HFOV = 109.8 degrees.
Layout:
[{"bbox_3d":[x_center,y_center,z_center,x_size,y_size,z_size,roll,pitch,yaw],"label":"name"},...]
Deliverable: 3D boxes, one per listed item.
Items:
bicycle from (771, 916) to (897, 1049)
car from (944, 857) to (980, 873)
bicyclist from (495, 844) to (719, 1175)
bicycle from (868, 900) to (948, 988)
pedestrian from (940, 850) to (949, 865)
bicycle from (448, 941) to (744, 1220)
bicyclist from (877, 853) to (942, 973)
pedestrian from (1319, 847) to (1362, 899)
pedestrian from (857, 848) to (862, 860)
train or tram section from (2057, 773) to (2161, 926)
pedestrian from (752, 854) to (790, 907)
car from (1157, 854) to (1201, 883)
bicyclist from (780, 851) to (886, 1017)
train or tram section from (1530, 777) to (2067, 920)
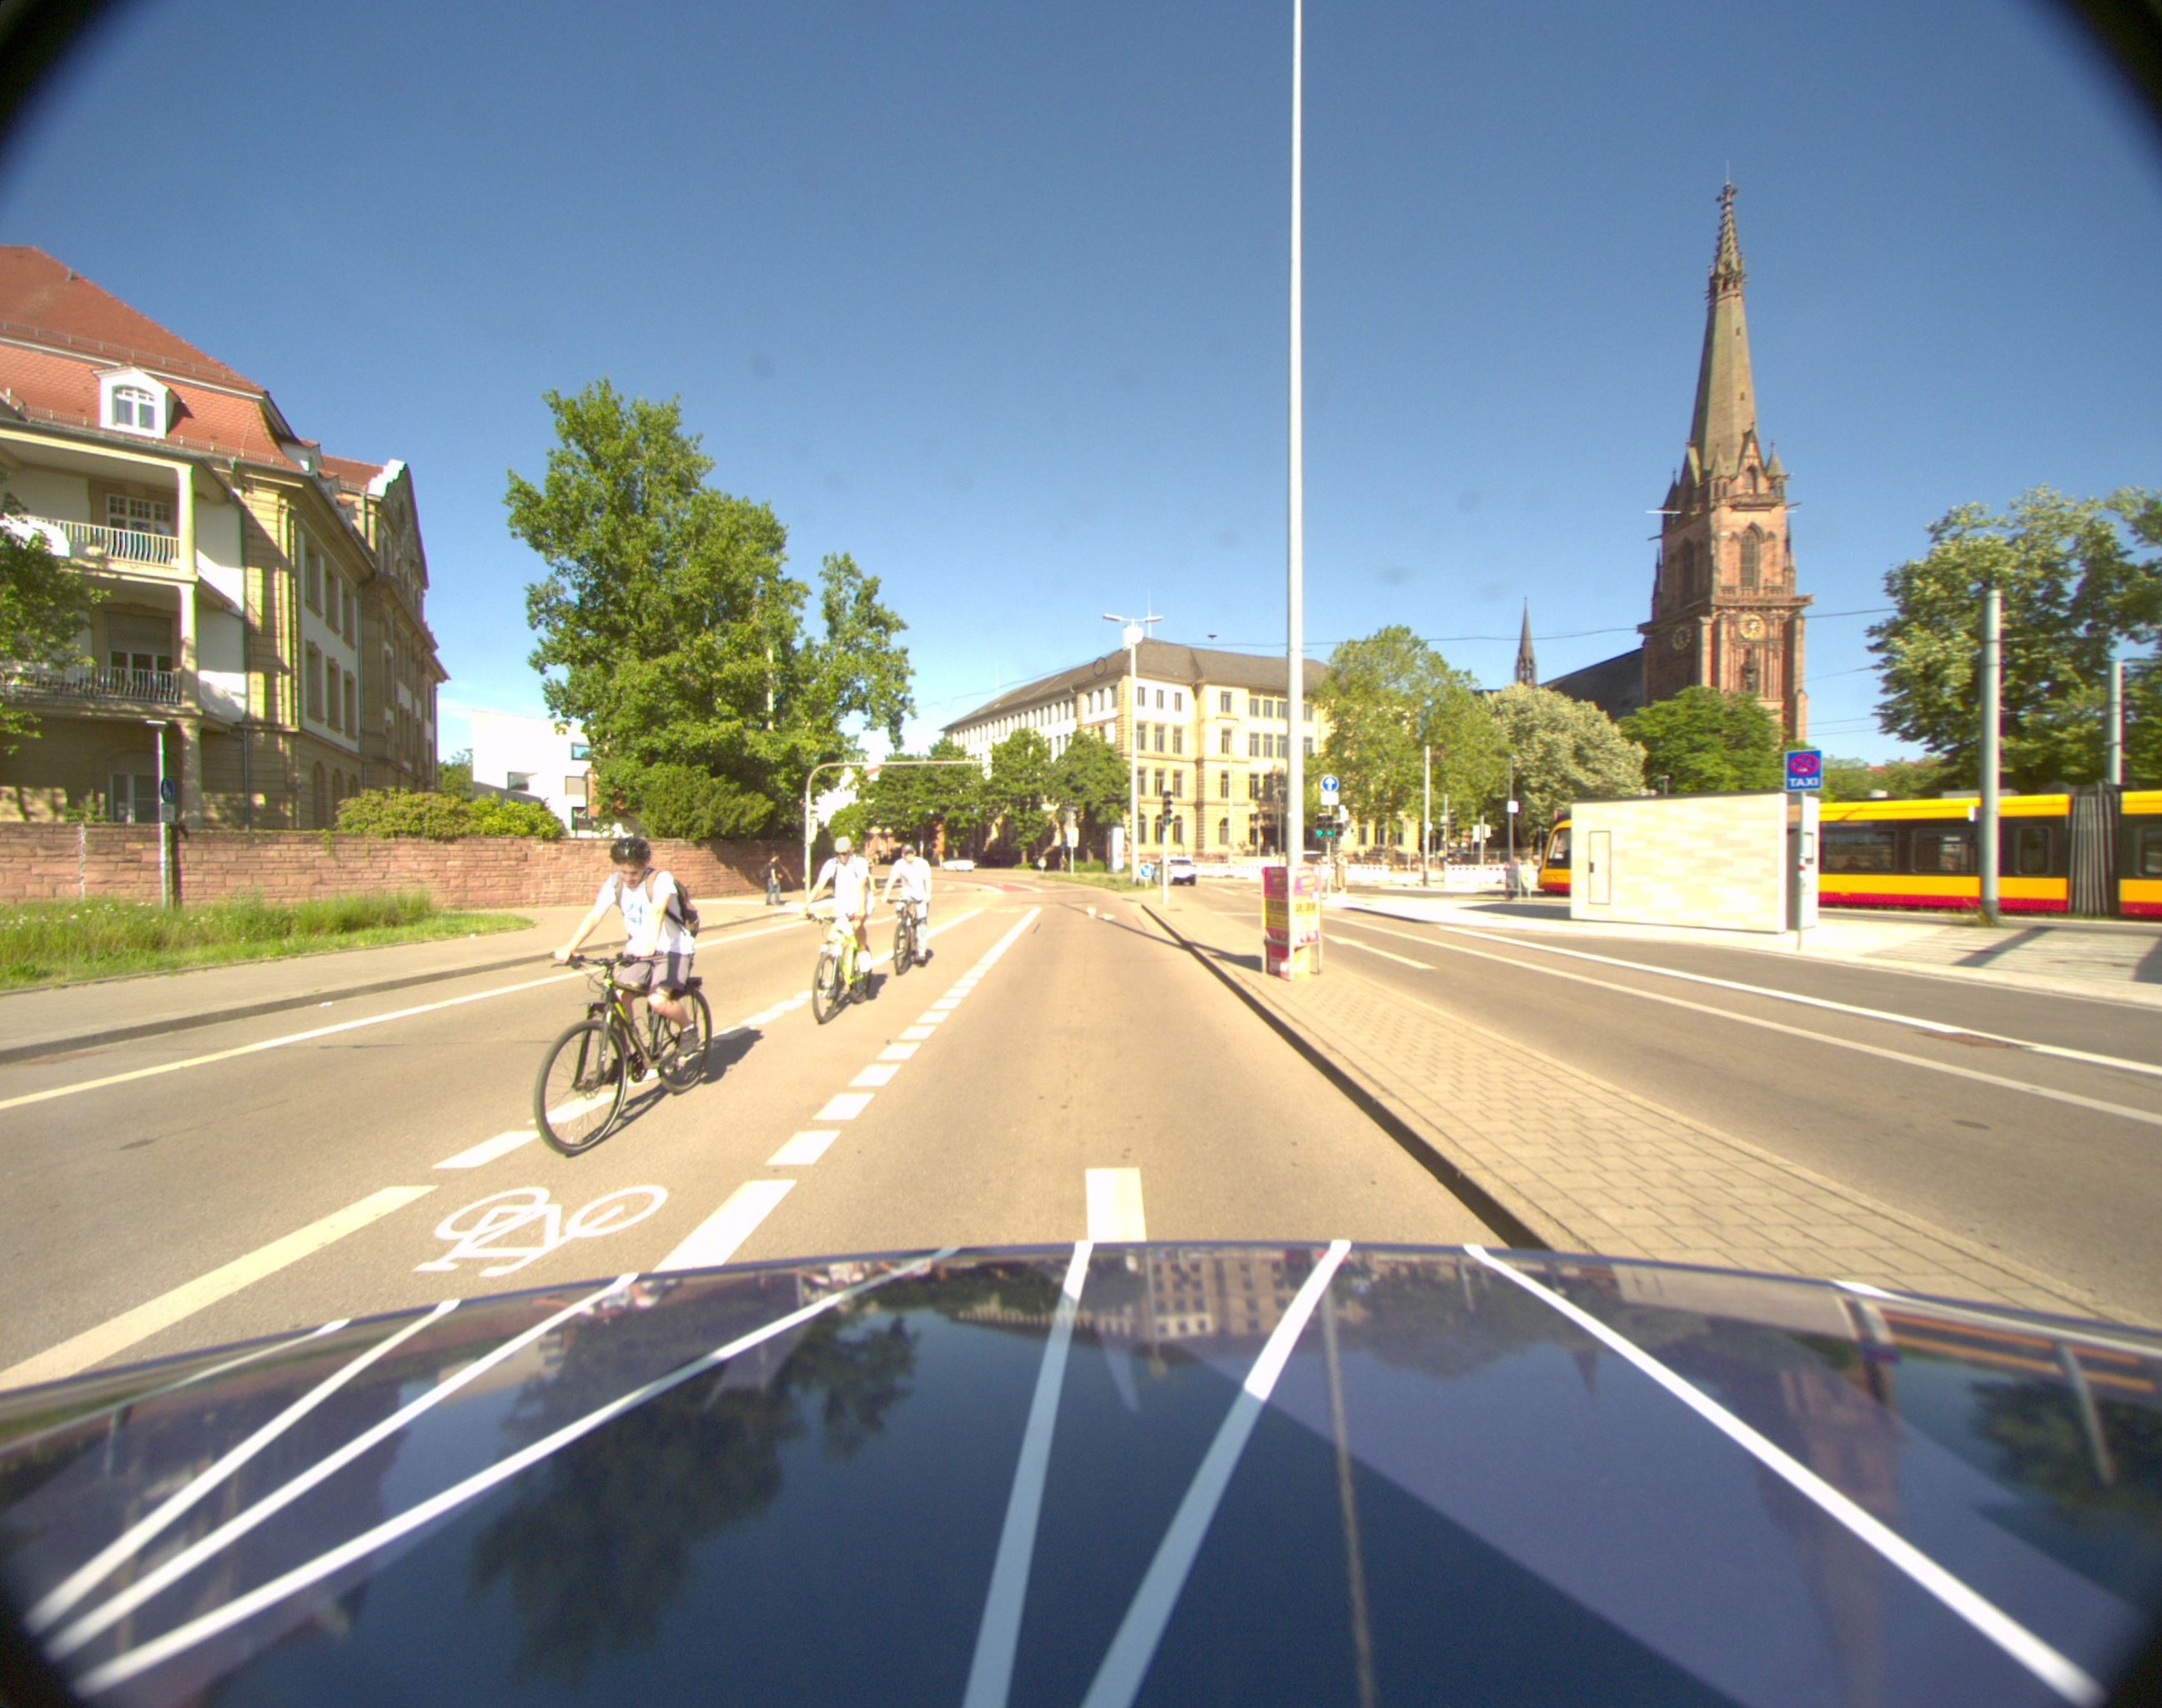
[{"bbox_3d":[-2.497,1.261,7.915,0.673,1.044,1.844,-2,0,0],"label":"bicycle"},{"bbox_3d":[-11.654,1.079,74.078,1.853,1.477,4.154,-1,1,-35],"label":"car"},{"bbox_3d":[-2.785,0.837,4.582,0.678,1.775,0.939,-2,1,-1],"label":"bicyclist"},{"bbox_3d":[-2.475,1.258,11.106,0.749,1.044,1.903,0,0,-1],"label":"bicycle"},{"bbox_3d":[-16.551,0.409,92.146,0.759,1.802,0.978,-1,1,-40],"label":"pedestrian"},{"bbox_3d":[-2.760,1.208,4.608,0.616,1.131,1.826,-1,0,-1],"label":"bicycle"},{"bbox_3d":[-2.468,0.814,10.999,0.742,1.664,0.865,0,1,-1],"label":"bicyclist"},{"bbox_3d":[9.387,0.681,27.494,1.229,1.845,0.827,0,1,-5],"label":"pedestrian"},{"bbox_3d":[-35.629,0.040,122.238,0.758,1.801,0.979,-2,-3,-18],"label":"pedestrian"},{"bbox_3d":[29.124,-0.110,14.781,2.806,3.580,12.294,-1,1,-35],"label":"train or tram section"},{"bbox_3d":[-11.062,0.928,27.121,0.729,1.839,0.963,2,1,37],"label":"pedestrian"},{"bbox_3d":[5.449,0.774,42.728,1.846,1.543,4.335,1,0,0],"label":"car"},{"bbox_3d":[-2.517,0.764,7.831,0.676,1.574,1.081,-2,1,0],"label":"bicyclist"},{"bbox_3d":[22.044,-0.151,24.975,2.806,3.580,12.504,-1,1,-35],"label":"train or tram section"}]
